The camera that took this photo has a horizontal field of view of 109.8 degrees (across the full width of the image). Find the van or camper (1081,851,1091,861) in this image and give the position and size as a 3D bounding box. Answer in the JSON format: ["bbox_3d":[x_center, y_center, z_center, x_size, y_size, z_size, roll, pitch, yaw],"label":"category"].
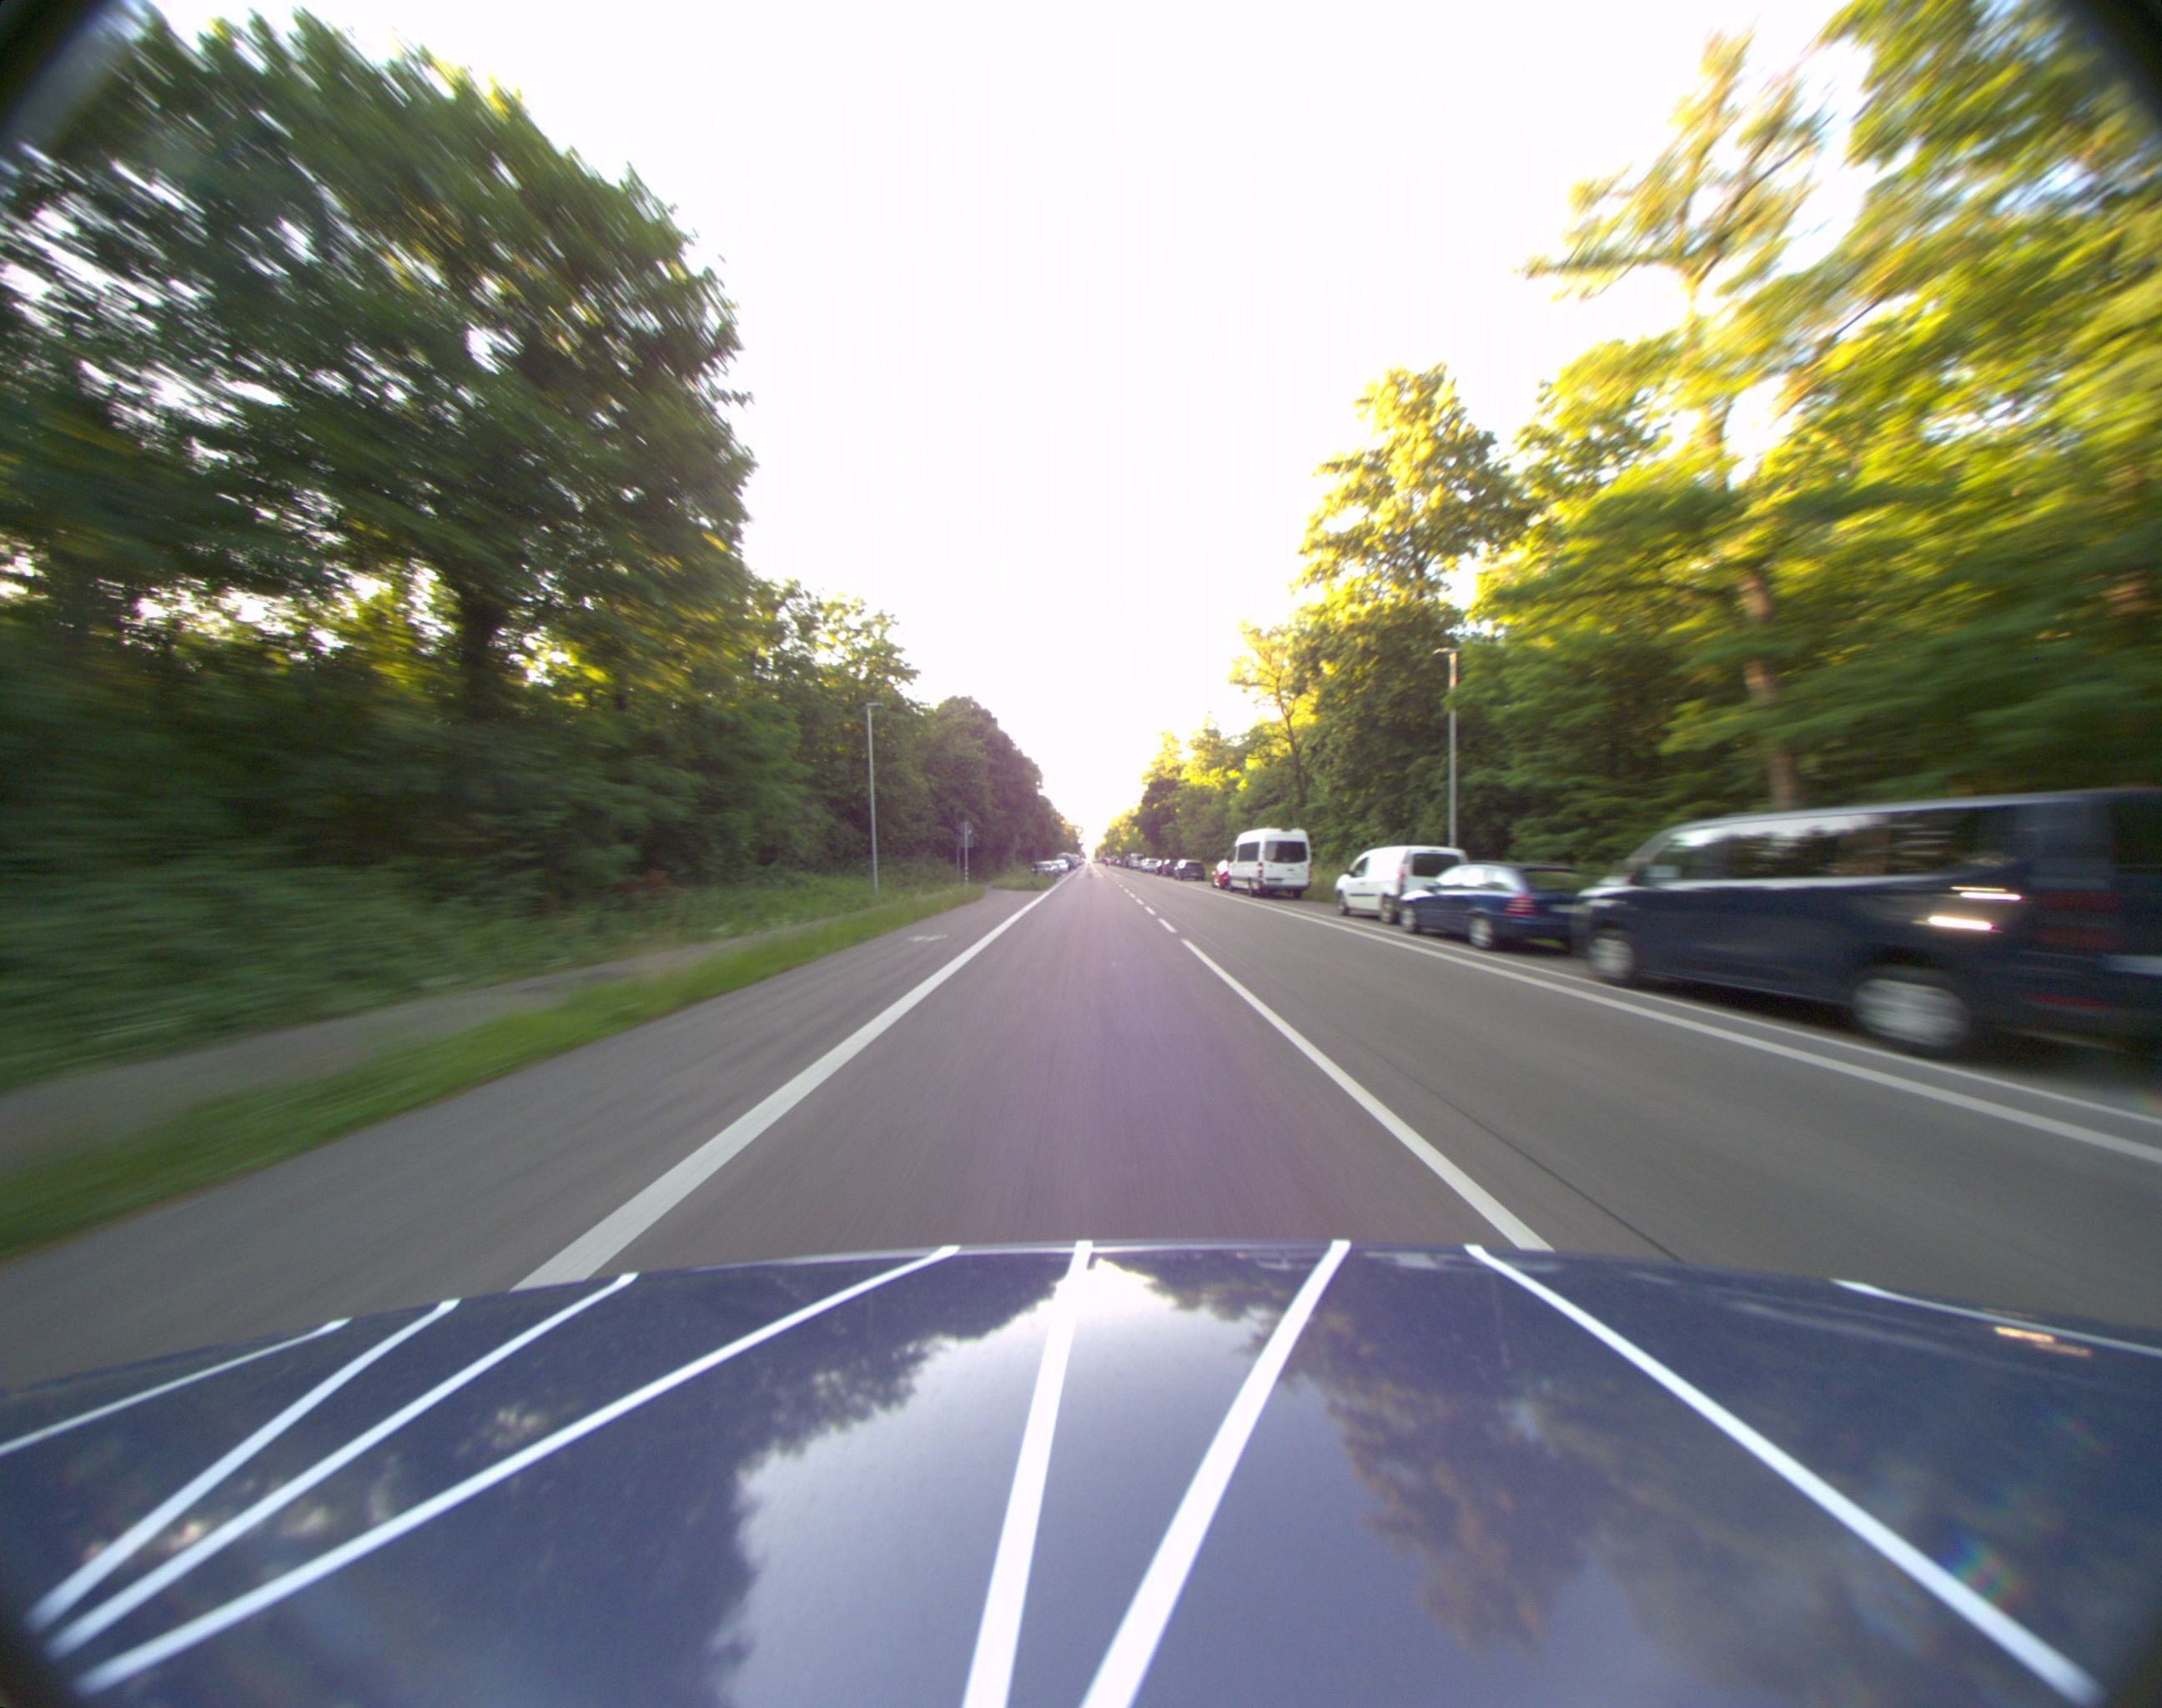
[{"bbox_3d":[1.441,0.537,219.066,3.015,2.703,6.960,-1,0,1],"label":"van or camper"}]

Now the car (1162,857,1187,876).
[{"bbox_3d":[7.931,1.035,64.656,1.716,1.500,3.657,1,0,0],"label":"car"}]

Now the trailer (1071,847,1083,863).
[{"bbox_3d":[-0.691,0.171,135.667,1.866,2.633,4.270,-2,0,0],"label":"trailer"}]

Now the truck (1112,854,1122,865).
[{"bbox_3d":[10.370,1.549,220.000,2.654,3.038,5.801,-2,0,1],"label":"truck"}]

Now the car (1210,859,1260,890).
[{"bbox_3d":[7.549,0.968,37.593,1.720,1.422,4.388,0,0,2],"label":"car"}]

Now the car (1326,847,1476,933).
[{"bbox_3d":[7.708,0.786,18.811,1.692,1.847,4.386,1,0,-2],"label":"car"}]

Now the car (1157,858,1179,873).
[{"bbox_3d":[8.049,1.060,70.898,1.601,1.386,4.052,0,0,0],"label":"car"}]

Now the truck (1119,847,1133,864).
[{"bbox_3d":[8.805,0.376,148.627,2.226,3.188,6.271,2,0,-1],"label":"truck"}]

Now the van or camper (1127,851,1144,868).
[{"bbox_3d":[8.260,0.810,115.653,2.116,2.376,6.381,2,0,-1],"label":"van or camper"}]

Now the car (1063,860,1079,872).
[{"bbox_3d":[-1.285,1.503,94.953,1.848,1.484,4.759,-2,-1,-2],"label":"car"}]

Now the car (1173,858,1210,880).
[{"bbox_3d":[7.877,1.048,54.541,1.850,1.454,4.229,1,0,-2],"label":"car"}]

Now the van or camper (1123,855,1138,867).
[{"bbox_3d":[8.780,1.265,135.293,2.034,1.945,4.692,2,0,-2],"label":"van or camper"}]

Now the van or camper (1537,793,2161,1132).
[{"bbox_3d":[7.067,0.669,7.256,2.008,2.006,5.460,1,0,-1],"label":"van or camper"}]

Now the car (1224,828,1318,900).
[{"bbox_3d":[7.558,0.368,31.163,2.084,2.591,7.089,2,0,1],"label":"car"}]

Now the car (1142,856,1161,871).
[{"bbox_3d":[8.110,1.074,88.126,1.699,1.636,4.572,1,0,-1],"label":"car"}]

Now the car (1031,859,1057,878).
[{"bbox_3d":[-2.931,1.157,60.845,1.715,1.436,4.122,-2,0,1],"label":"car"}]

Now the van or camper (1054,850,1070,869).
[{"bbox_3d":[-2.820,0.808,114.143,2.132,2.525,6.063,-2,-2,0],"label":"van or camper"}]

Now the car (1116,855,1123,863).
[{"bbox_3d":[8.511,1.100,167.473,1.606,1.495,3.760,2,0,3],"label":"car"}]

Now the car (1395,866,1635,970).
[{"bbox_3d":[7.237,0.968,13.290,1.674,1.424,4.447,1,0,1],"label":"car"}]

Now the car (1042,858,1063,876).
[{"bbox_3d":[-2.611,1.202,71.114,1.693,1.537,4.112,-1,0,1],"label":"car"}]
